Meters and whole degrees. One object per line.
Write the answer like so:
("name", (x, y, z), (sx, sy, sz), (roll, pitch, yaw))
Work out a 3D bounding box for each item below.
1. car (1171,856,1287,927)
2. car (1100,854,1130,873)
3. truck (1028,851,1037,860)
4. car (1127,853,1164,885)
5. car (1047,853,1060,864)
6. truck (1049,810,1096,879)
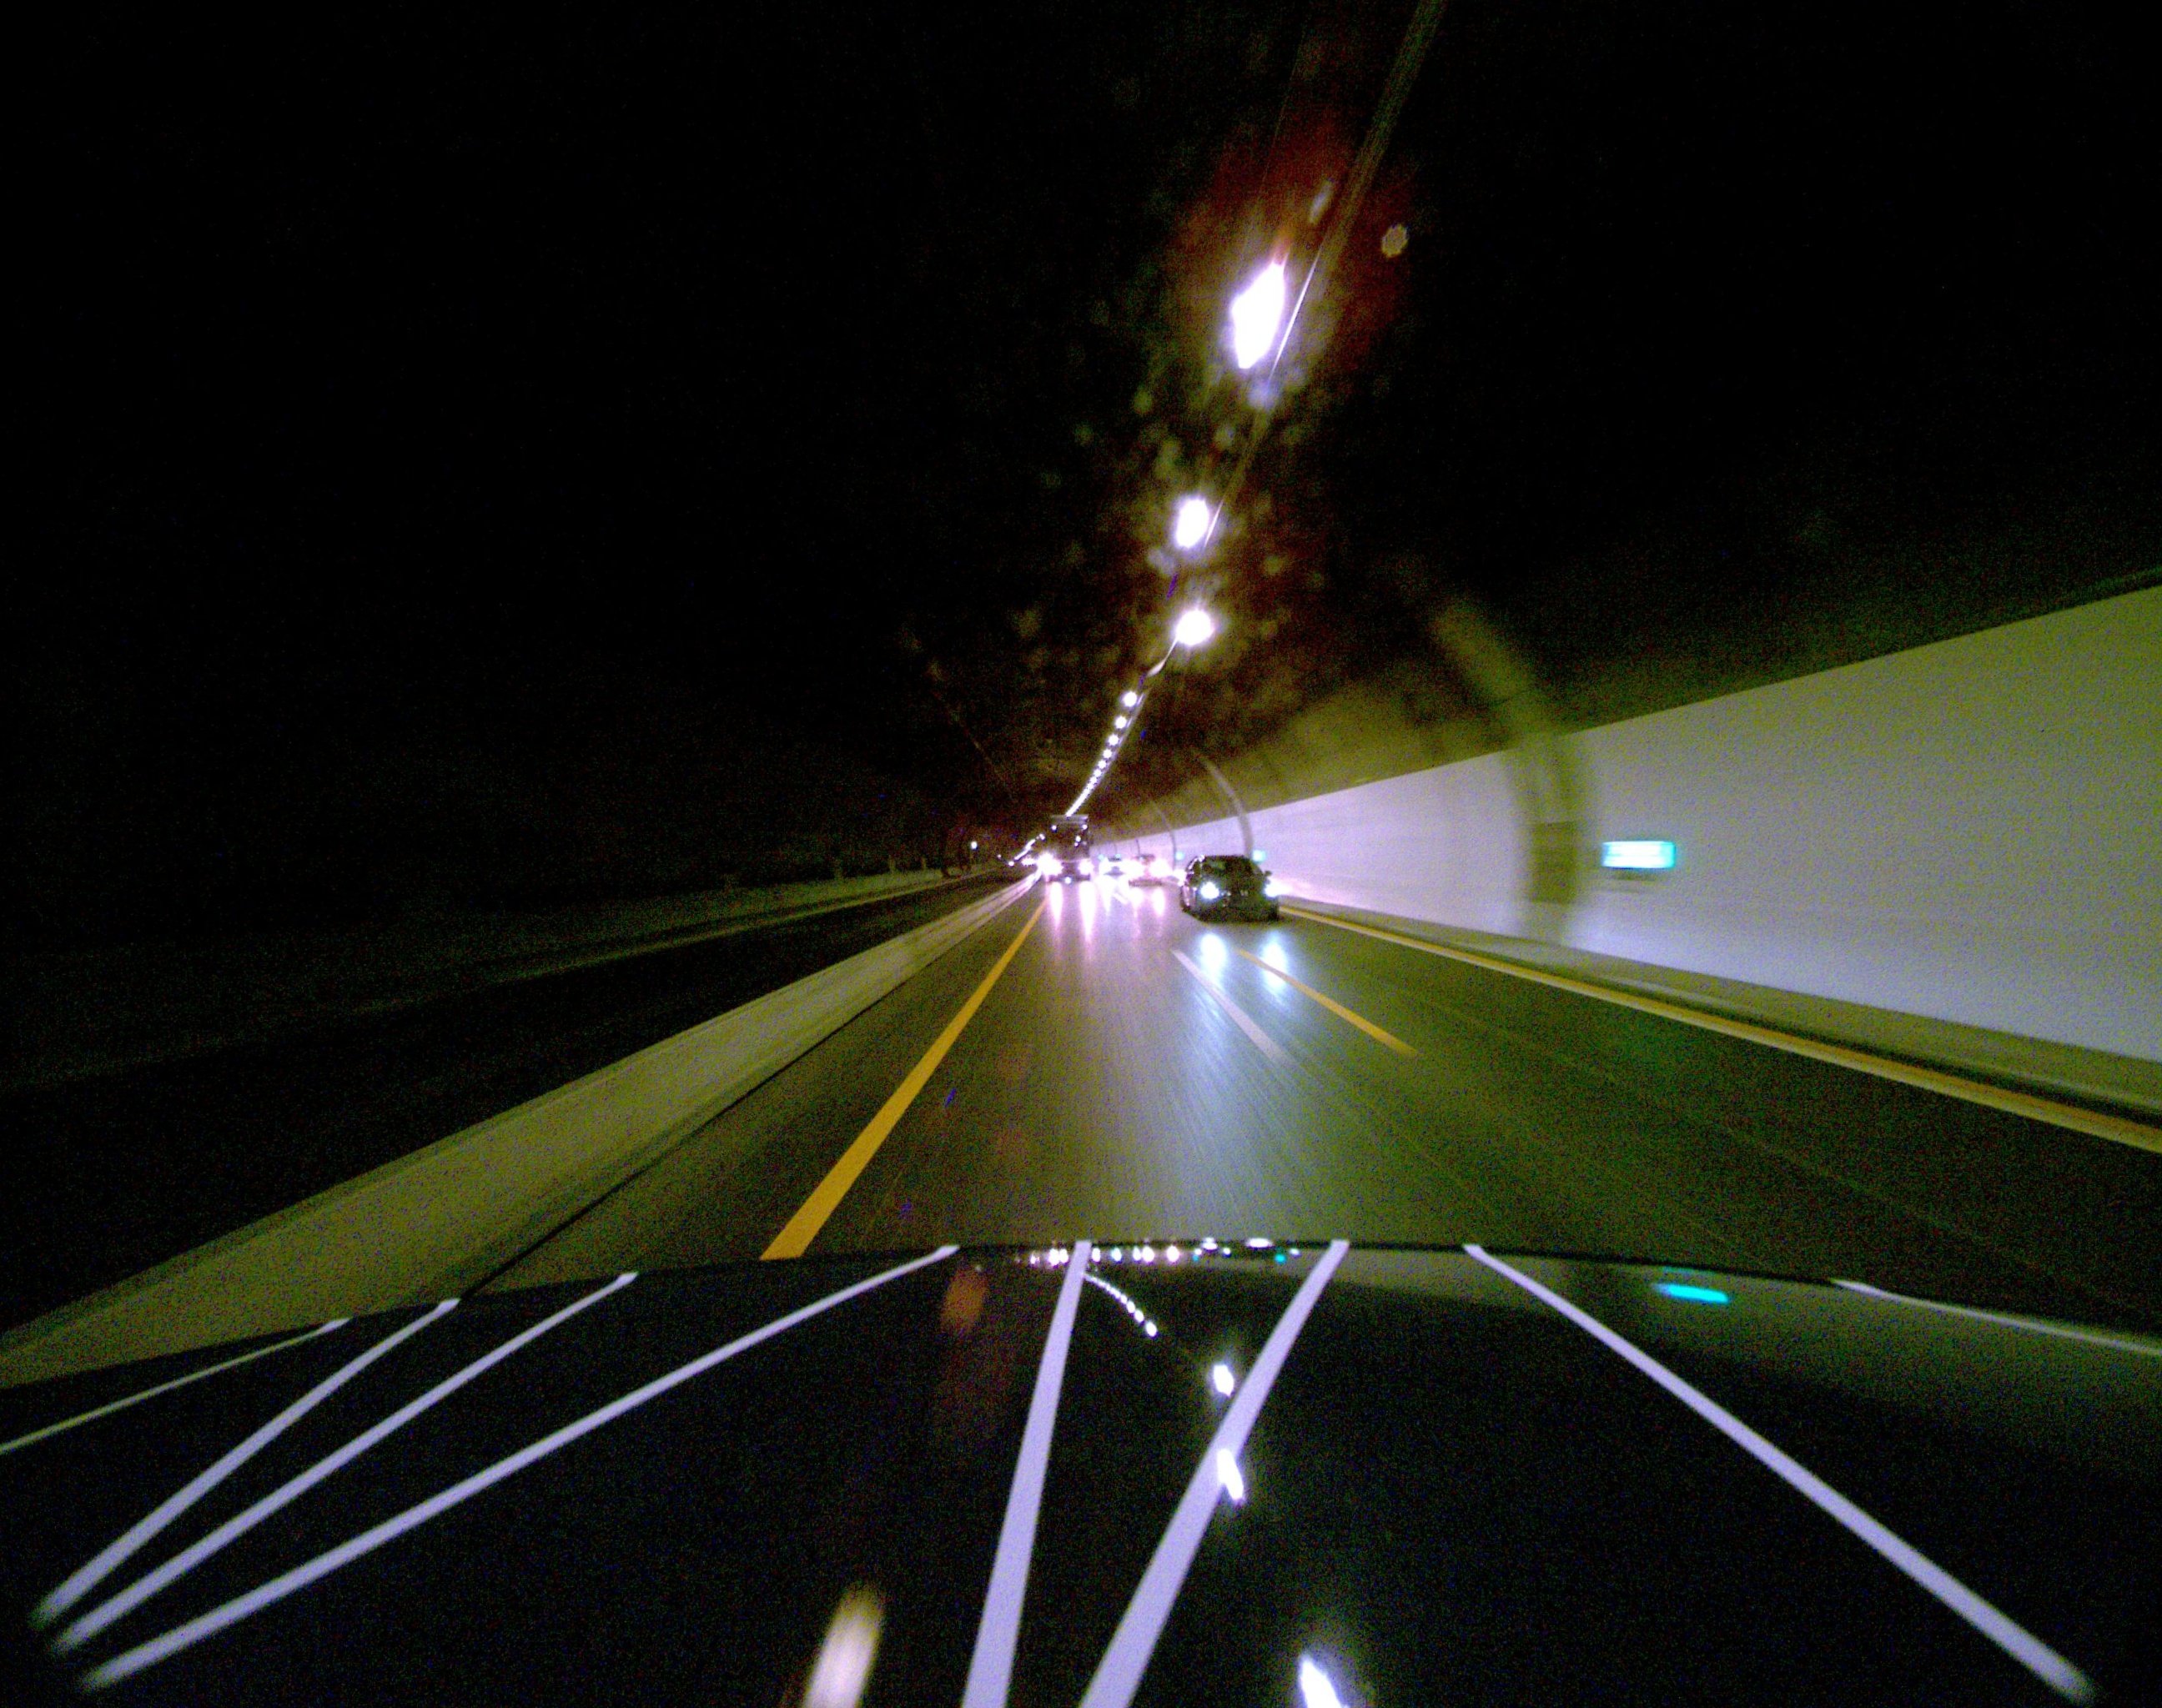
("car", (3.425, 0.794, 18.516), (1.782, 1.430, 4.882), (-2, 0, 0))
("car", (2.642, 0.730, 59.307), (1.910, 1.412, 4.059), (-2, 0, -3))
("truck", (-15.899, 0.473, 249.606), (2.611, 2.723, 6.394), (-2, 0, -6))
("car", (3.152, 0.704, 37.501), (1.531, 1.508, 2.651), (-2, 0, -1))
("car", (-4.260, 0.678, 117.400), (1.999, 1.524, 3.999), (-2, 0, -2))
("truck", (-0.633, -0.590, 50.088), (2.742, 4.127, 8.099), (-2, 0, -2))
